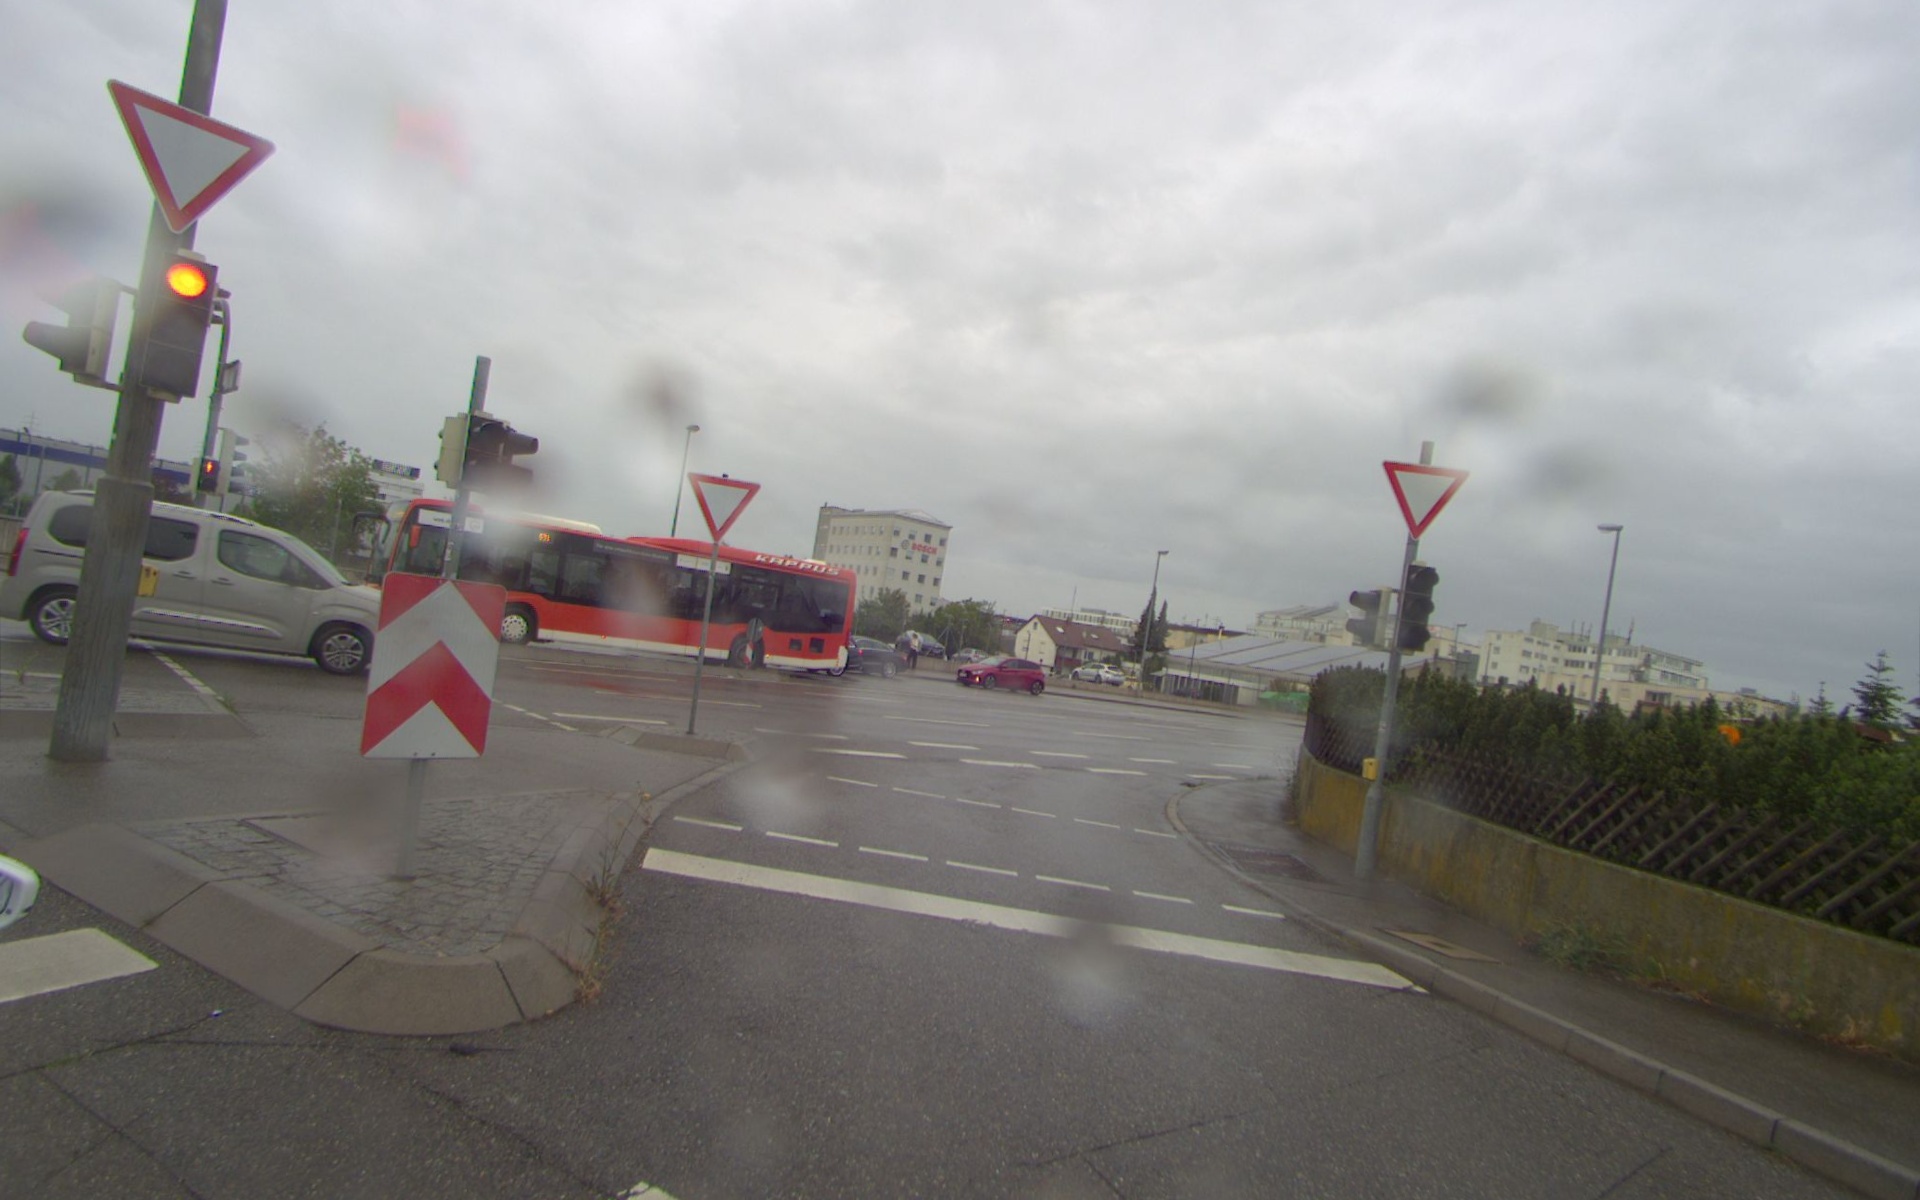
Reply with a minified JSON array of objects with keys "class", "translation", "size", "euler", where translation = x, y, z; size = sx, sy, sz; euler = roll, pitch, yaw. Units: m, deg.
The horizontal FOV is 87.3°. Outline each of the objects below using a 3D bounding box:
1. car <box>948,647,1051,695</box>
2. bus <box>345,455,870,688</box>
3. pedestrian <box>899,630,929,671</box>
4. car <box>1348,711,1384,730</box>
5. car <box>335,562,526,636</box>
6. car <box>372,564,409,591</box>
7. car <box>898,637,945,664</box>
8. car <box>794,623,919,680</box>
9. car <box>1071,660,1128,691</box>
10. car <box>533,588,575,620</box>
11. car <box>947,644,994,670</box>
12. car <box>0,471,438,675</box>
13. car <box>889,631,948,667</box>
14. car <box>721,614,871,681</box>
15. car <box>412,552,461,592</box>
[{"class":"car","translation":[1.708,3.026,42.595],"size":[3.948,1.525,1.853],"euler":[9,-2,-36]},{"class":"bus","translation":[-8.278,-0.320,25.861],"size":[12.223,3.614,2.952],"euler":[12,-4,-41]},{"class":"pedestrian","translation":[-2.066,2.263,45.083],"size":[0.819,1.723,0.893],"euler":[8,-1,-30]},{"class":"car","translation":[41.285,12.204,102.268],"size":[3.616,1.436,1.720],"euler":[10,-2,-36]},{"class":"car","translation":[-14.814,0.004,28.281],"size":[4.367,1.370,1.804],"euler":[10,-3,-42]},{"class":"car","translation":[-41.523,-1.637,73.301],"size":[1.912,1.607,3.754],"euler":[9,-2,-34]},{"class":"car","translation":[-3.116,4.083,81.339],"size":[1.980,1.636,3.970],"euler":[9,-2,-30]},{"class":"car","translation":[-3.880,1.985,38.183],"size":[4.367,1.555,1.804],"euler":[10,-3,-42]},{"class":"car","translation":[9.667,5.227,70.113],"size":[1.976,1.561,3.977],"euler":[9,-2,-25]},{"class":"car","translation":[-31.952,0.304,79.053],"size":[1.983,2.037,3.962],"euler":[8,-2,-36]},{"class":"car","translation":[0.851,4.699,83.626],"size":[1.980,1.636,3.970],"euler":[9,-2,-30]},{"class":"car","translation":[-9.401,-0.254,13.094],"size":[4.433,1.865,1.987],"euler":[9,-2,-28]},{"class":"car","translation":[-2.590,2.979,61.622],"size":[1.912,1.684,3.869],"euler":[9,-2,-29]},{"class":"car","translation":[-5.362,1.560,32.942],"size":[4.324,1.524,1.987],"euler":[9,-2,-28]},{"class":"car","translation":[-30.258,-1.636,58.097],"size":[1.734,2.037,3.786],"euler":[8,-2,-37]}]
